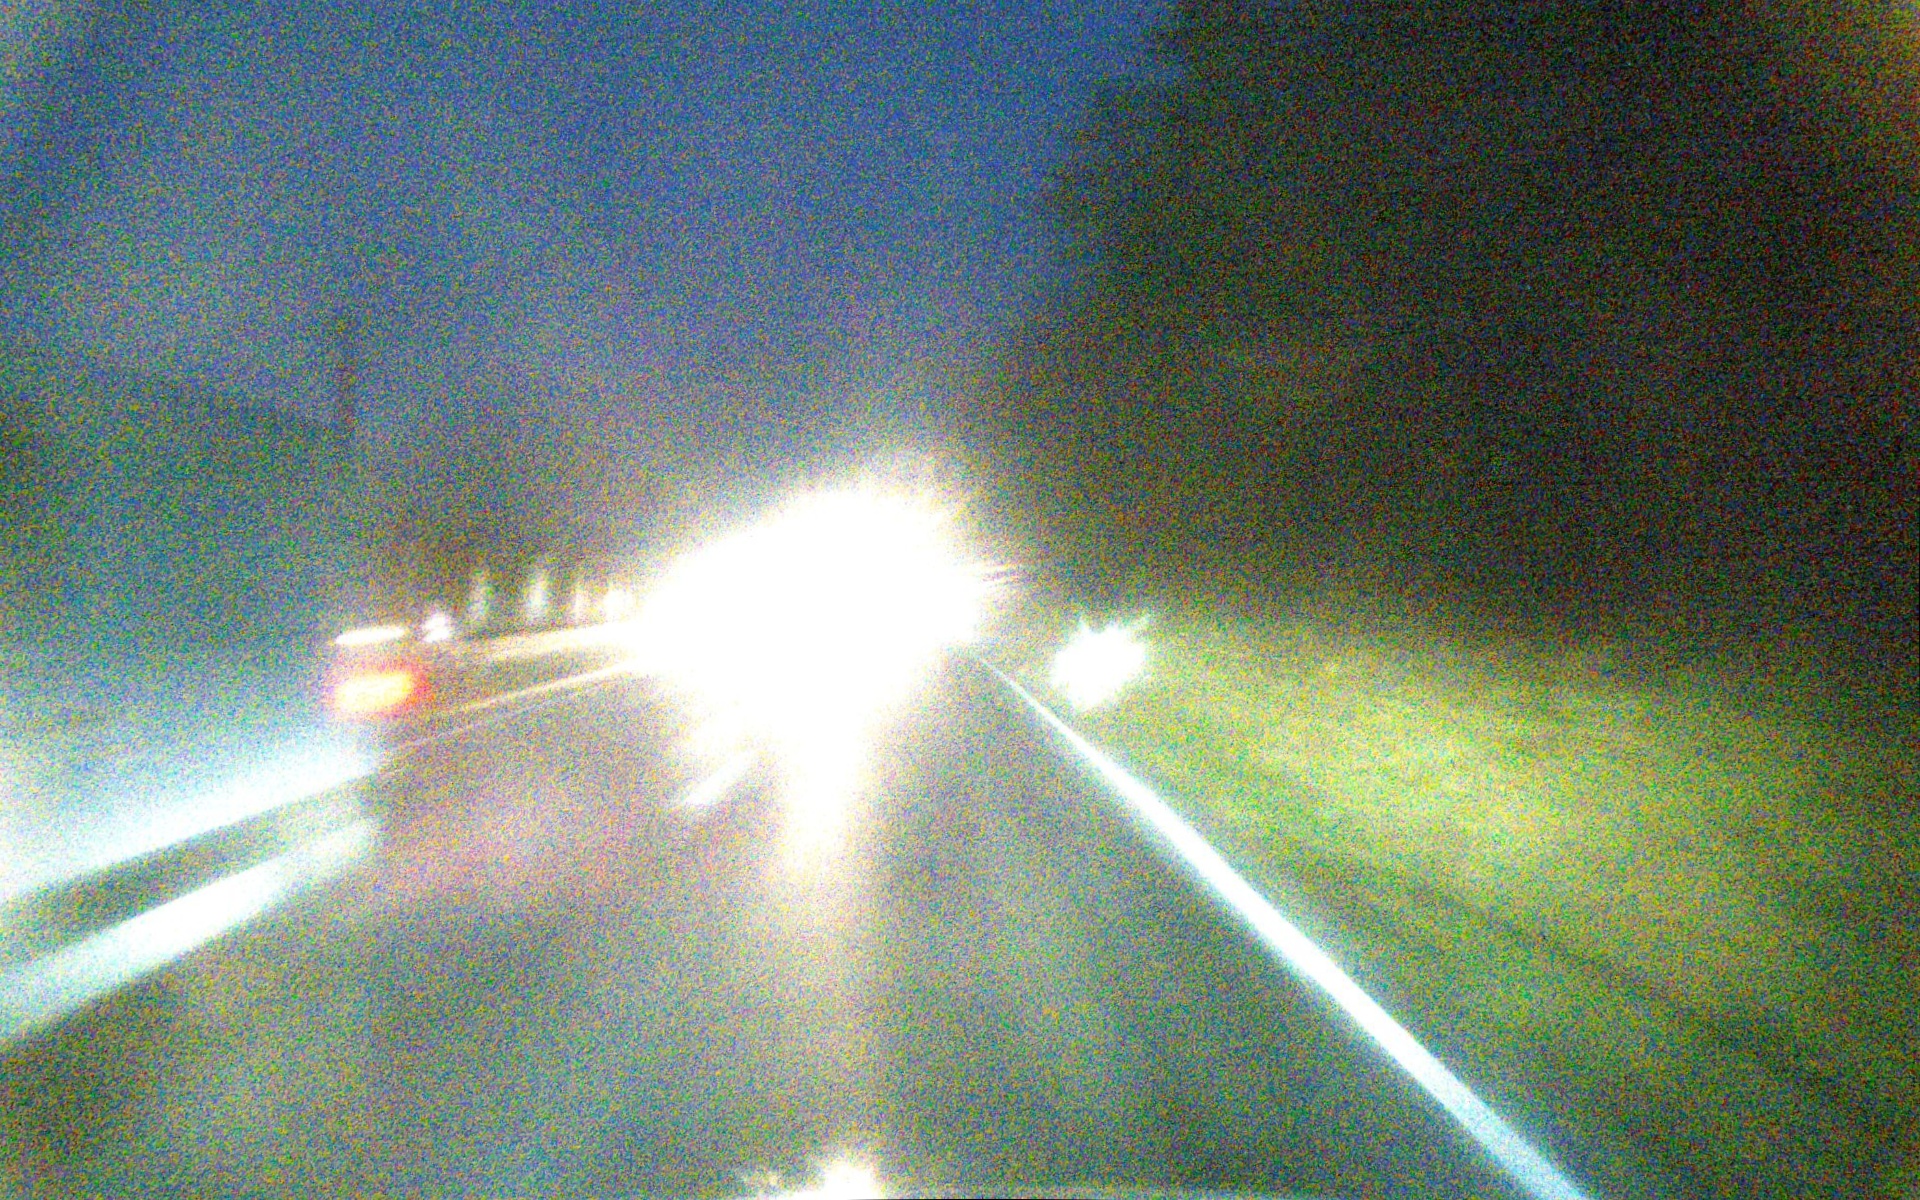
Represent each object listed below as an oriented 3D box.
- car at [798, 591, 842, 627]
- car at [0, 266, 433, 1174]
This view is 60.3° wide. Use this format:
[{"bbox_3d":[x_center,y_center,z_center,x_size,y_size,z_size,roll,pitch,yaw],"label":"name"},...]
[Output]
[{"bbox_3d":[-6.613,0.395,78.333,1.887,1.602,4.345,1,1,-2],"label":"car"},{"bbox_3d":[-3.428,0.288,5.029,1.953,2.312,5.466,1,1,-1],"label":"car"}]
